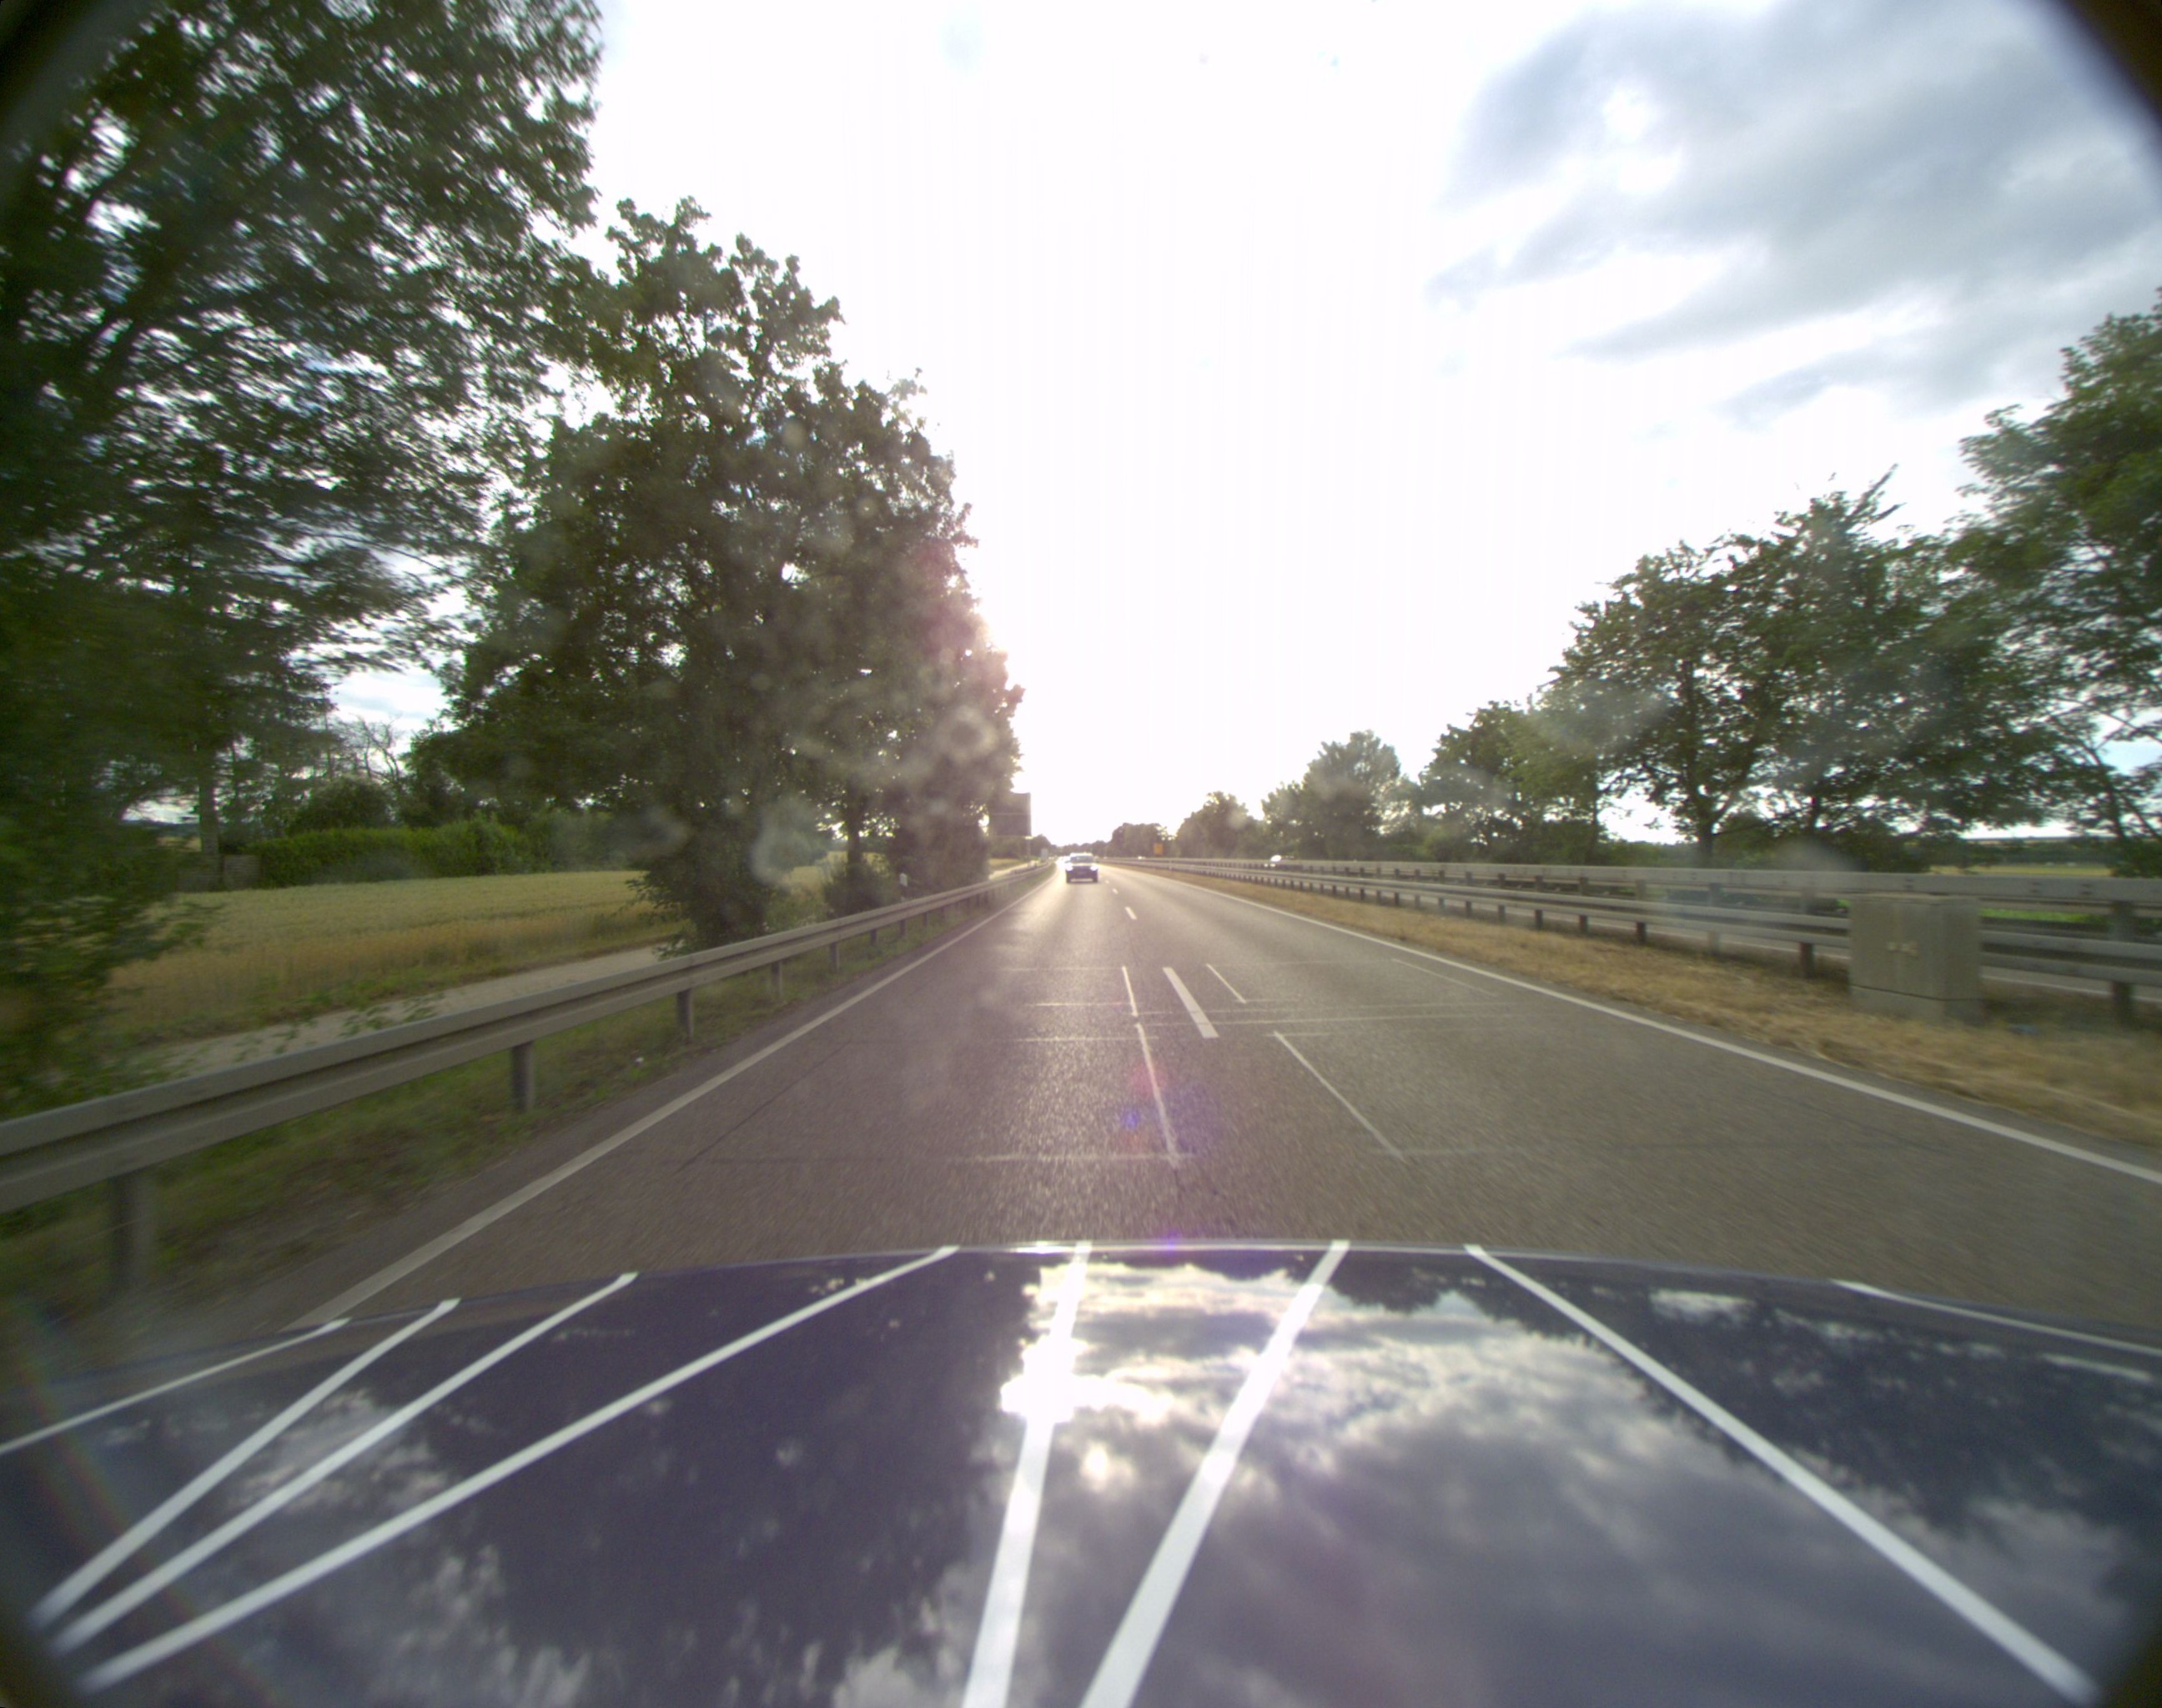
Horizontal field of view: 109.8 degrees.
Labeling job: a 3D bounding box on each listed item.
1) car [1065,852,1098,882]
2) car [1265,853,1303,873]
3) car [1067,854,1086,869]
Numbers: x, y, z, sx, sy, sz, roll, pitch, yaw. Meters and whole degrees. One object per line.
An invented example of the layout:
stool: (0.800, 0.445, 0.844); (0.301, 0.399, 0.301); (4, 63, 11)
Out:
car: (0.032, 0.717, 44.854); (1.863, 1.636, 3.999); (-2, 1, 0)
car: (15.808, 0.673, 59.434); (1.829, 1.535, 4.587); (0, 0, 1)
car: (-0.504, 0.737, 76.350); (1.776, 1.389, 3.999); (-2, 0, -1)
